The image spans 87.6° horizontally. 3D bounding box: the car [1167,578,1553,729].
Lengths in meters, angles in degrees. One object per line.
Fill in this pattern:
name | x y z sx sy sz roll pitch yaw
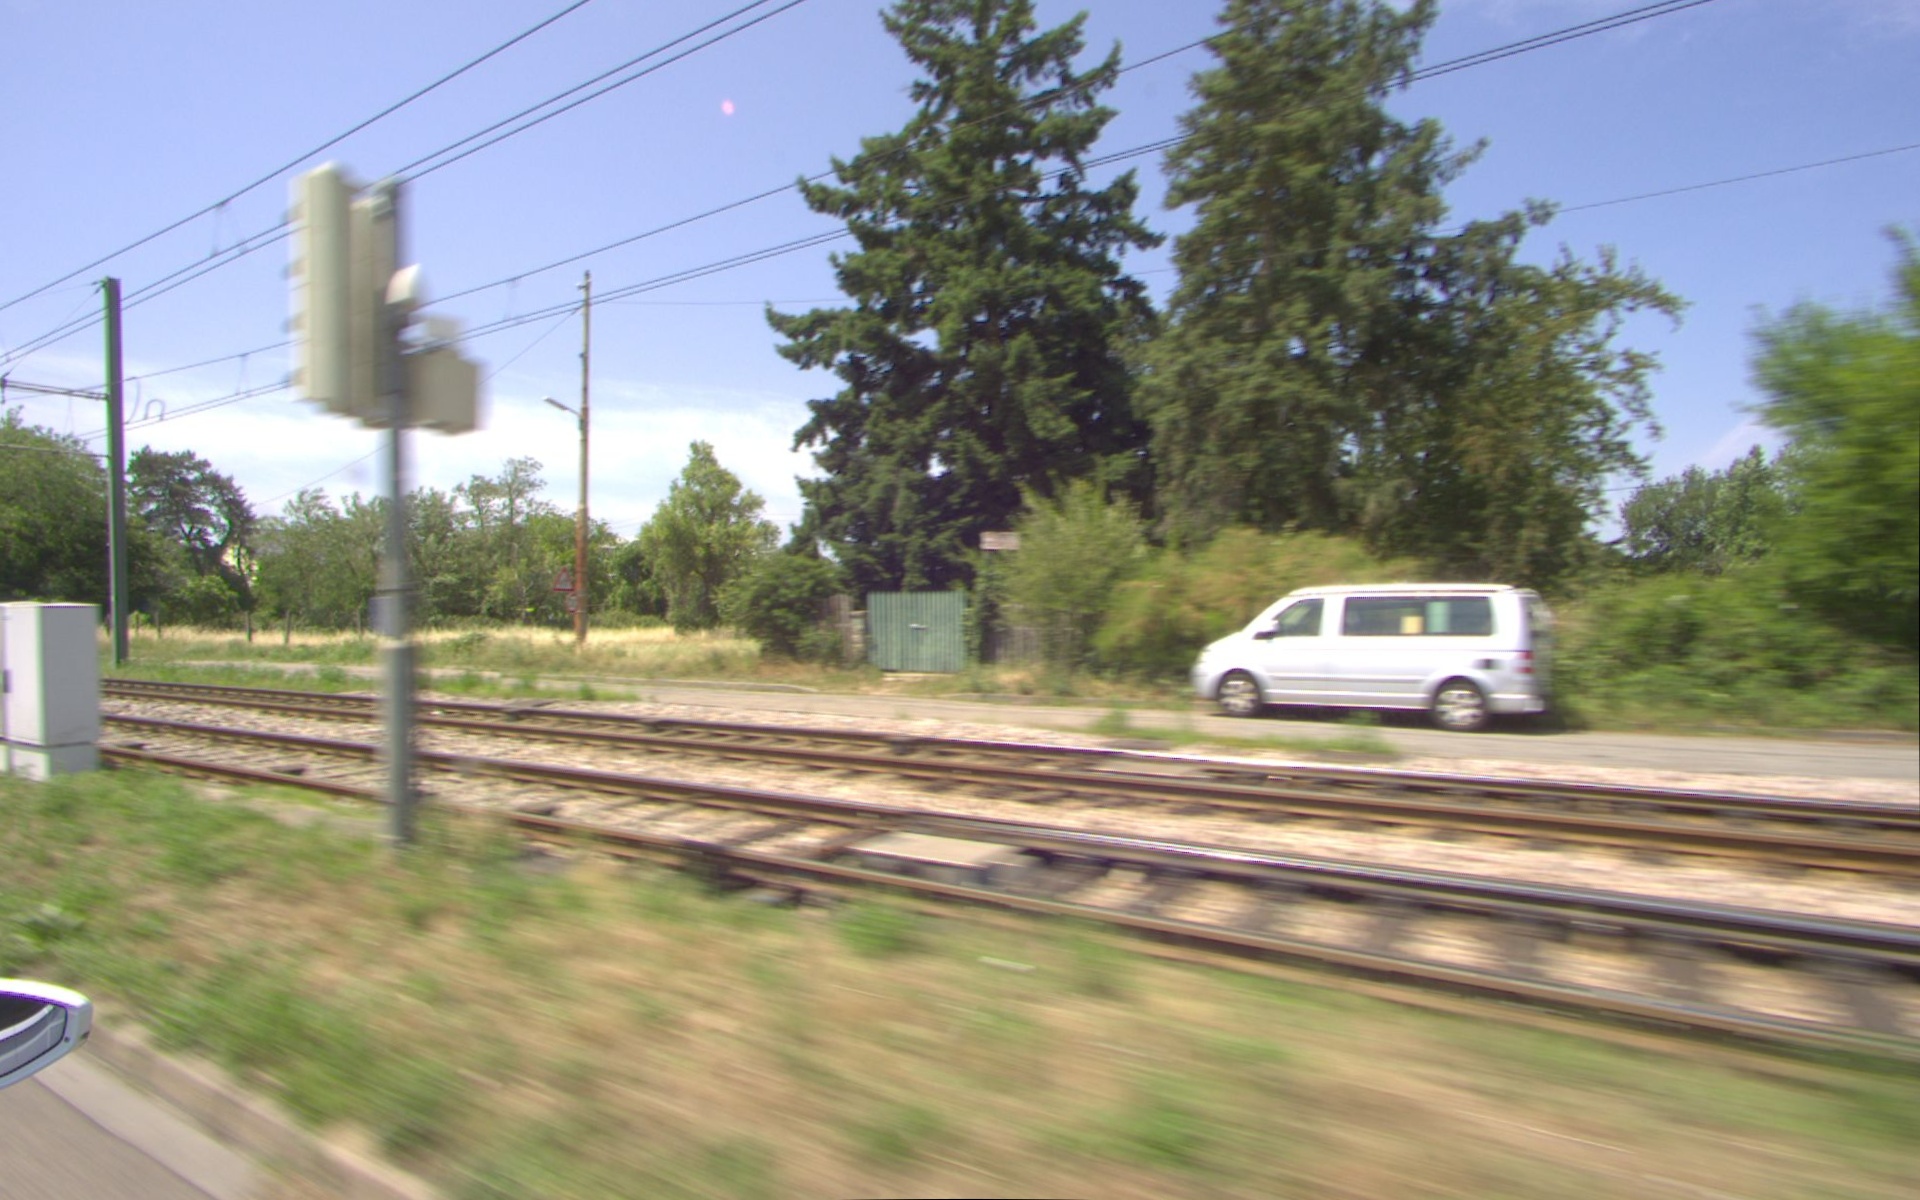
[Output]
car | 5.816 0.749 14.804 4.994 1.906 2.033 -2 -1 30
